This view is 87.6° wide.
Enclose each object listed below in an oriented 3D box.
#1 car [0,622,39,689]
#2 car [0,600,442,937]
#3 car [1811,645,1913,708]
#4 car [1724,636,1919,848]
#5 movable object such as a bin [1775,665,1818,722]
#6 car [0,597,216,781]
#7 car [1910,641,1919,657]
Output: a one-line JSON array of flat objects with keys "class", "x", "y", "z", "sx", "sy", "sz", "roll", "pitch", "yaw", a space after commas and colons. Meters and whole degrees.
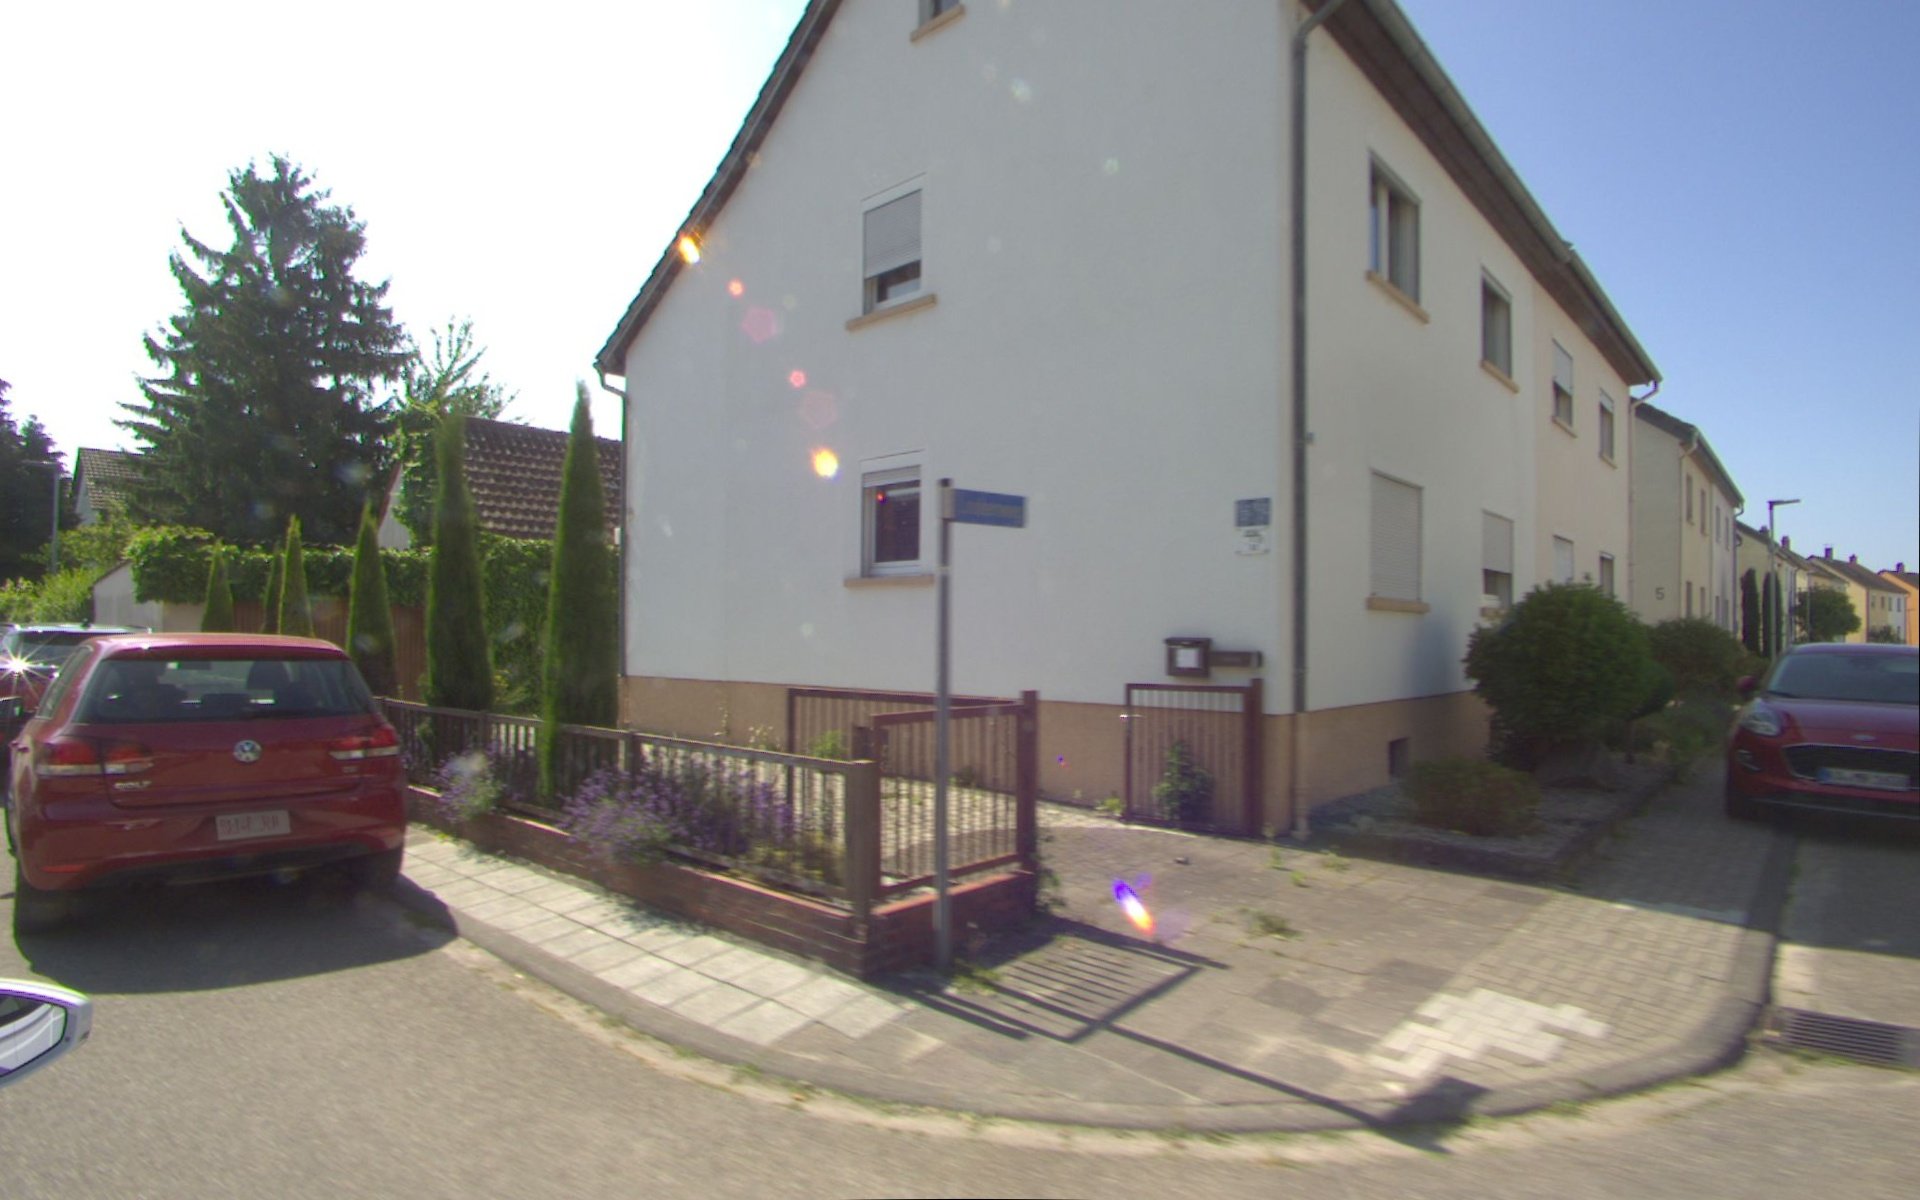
[{"class": "car", "x": -21.995, "y": 1.210, "z": 22.334, "sx": 3.955, "sy": 1.417, "sz": 1.695, "roll": -2, "pitch": -3, "yaw": 41}, {"class": "car", "x": -4.980, "y": 0.853, "z": 6.514, "sx": 1.765, "sy": 1.497, "sz": 3.961, "roll": 4, "pitch": -4, "yaw": -44}, {"class": "car", "x": 22.553, "y": 1.864, "z": 25.117, "sx": 1.777, "sy": 1.428, "sz": 3.968, "roll": -1, "pitch": -3, "yaw": 41}, {"class": "car", "x": 8.150, "y": 1.116, "z": 8.994, "sx": 1.777, "sy": 1.549, "sz": 3.968, "roll": -1, "pitch": -3, "yaw": 41}, {"class": "movable object such as a bin", "x": 15.861, "y": 1.760, "z": 18.992, "sx": 0.597, "sy": 1.043, "sz": 0.558, "roll": -1, "pitch": -2, "yaw": 43}, {"class": "car", "x": -9.614, "y": 0.865, "z": 10.674, "sx": 3.953, "sy": 1.635, "sz": 1.815, "roll": -1, "pitch": -3, "yaw": 40}, {"class": "car", "x": 85.358, "y": 4.343, "z": 88.538, "sx": 3.960, "sy": 1.428, "sz": 1.780, "roll": 3, "pitch": -3, "yaw": -43}]
